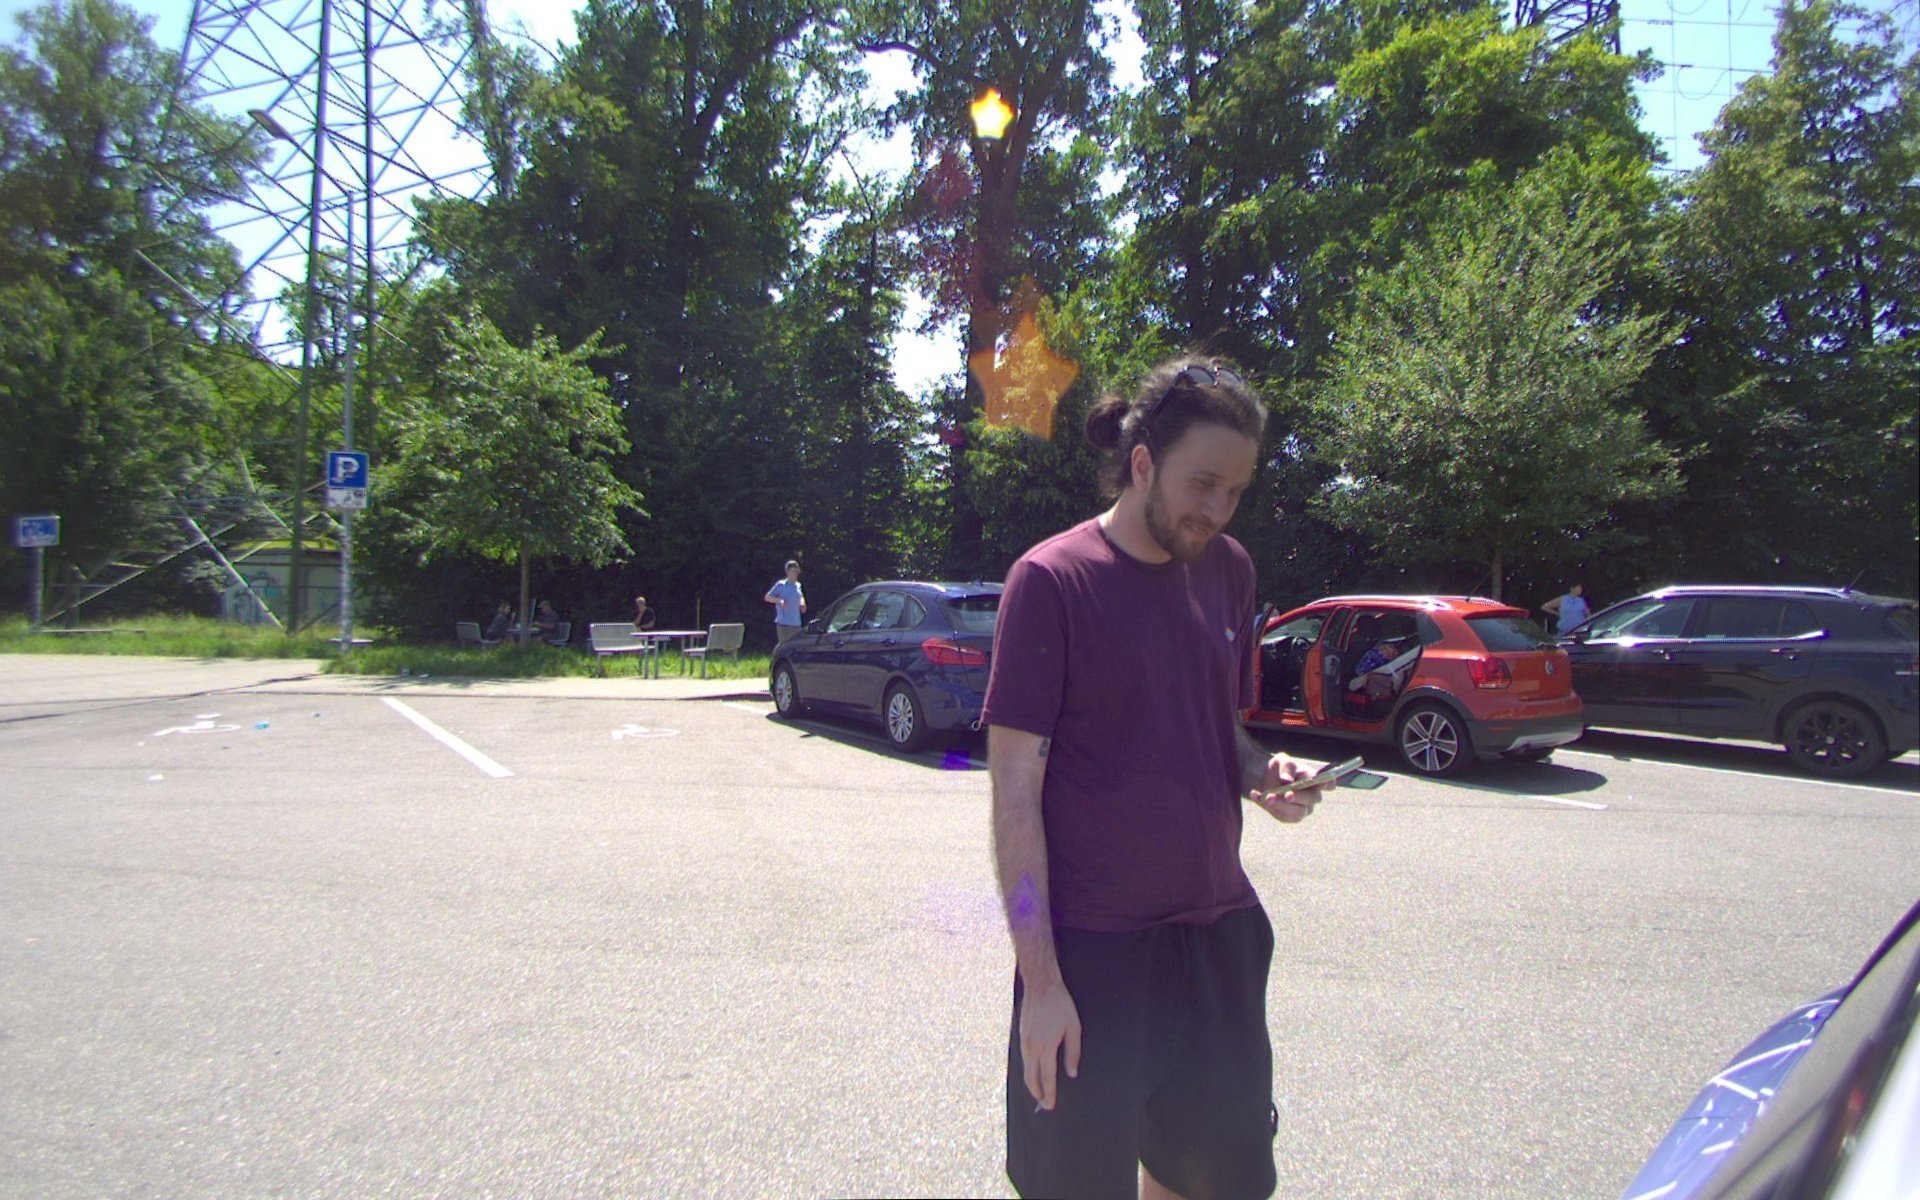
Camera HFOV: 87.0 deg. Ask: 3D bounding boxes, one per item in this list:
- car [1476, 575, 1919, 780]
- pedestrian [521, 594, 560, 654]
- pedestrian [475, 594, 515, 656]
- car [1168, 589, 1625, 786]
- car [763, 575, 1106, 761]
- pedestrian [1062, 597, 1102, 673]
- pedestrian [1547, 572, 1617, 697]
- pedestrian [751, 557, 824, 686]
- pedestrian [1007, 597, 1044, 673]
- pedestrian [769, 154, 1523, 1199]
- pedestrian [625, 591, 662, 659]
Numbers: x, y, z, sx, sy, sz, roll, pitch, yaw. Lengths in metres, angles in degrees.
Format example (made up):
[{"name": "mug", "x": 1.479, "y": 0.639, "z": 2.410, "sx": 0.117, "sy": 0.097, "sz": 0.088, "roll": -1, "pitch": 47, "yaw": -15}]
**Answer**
[{"name": "car", "x": 7.246, "y": 0.592, "z": 9.704, "sx": 1.707, "sy": 1.607, "sz": 3.732, "roll": 1, "pitch": 0, "yaw": -39}, {"name": "pedestrian", "x": -9.733, "y": 0.541, "z": 23.475, "sx": 0.687, "sy": 1.352, "sz": 0.563, "roll": 0, "pitch": 0, "yaw": -40}, {"name": "pedestrian", "x": -10.490, "y": 0.552, "z": 22.837, "sx": 0.687, "sy": 1.352, "sz": 0.563, "roll": 0, "pitch": 0, "yaw": -40}, {"name": "car", "x": 3.880, "y": 0.642, "z": 9.589, "sx": 1.559, "sy": 1.467, "sz": 3.737, "roll": 1, "pitch": 0, "yaw": -33}, {"name": "car", "x": -0.457, "y": 0.555, "z": 10.662, "sx": 1.776, "sy": 1.562, "sz": 3.940, "roll": 1, "pitch": 0, "yaw": -34}, {"name": "pedestrian", "x": 2.043, "y": 0.577, "z": 17.011, "sx": 0.576, "sy": 1.251, "sz": 0.697, "roll": 0, "pitch": -1, "yaw": 1}, {"name": "pedestrian", "x": 9.399, "y": 0.506, "z": 15.305, "sx": 0.753, "sy": 1.854, "sz": 0.519, "roll": 0, "pitch": 0, "yaw": 10}, {"name": "pedestrian", "x": -2.425, "y": 0.288, "z": 14.228, "sx": 0.817, "sy": 1.754, "sz": 0.676, "roll": 1, "pitch": 0, "yaw": -30}, {"name": "pedestrian", "x": 1.095, "y": 0.582, "z": 17.077, "sx": 0.576, "sy": 1.251, "sz": 0.697, "roll": 0, "pitch": -1, "yaw": 1}, {"name": "pedestrian", "x": 0.269, "y": 0.461, "z": 1.647, "sx": 0.845, "sy": 1.857, "sz": 0.864, "roll": 0, "pitch": 0, "yaw": -37}, {"name": "pedestrian", "x": -6.661, "y": 0.518, "z": 21.314, "sx": 0.553, "sy": 1.408, "sz": 0.700, "roll": 0, "pitch": 0, "yaw": 2}]
